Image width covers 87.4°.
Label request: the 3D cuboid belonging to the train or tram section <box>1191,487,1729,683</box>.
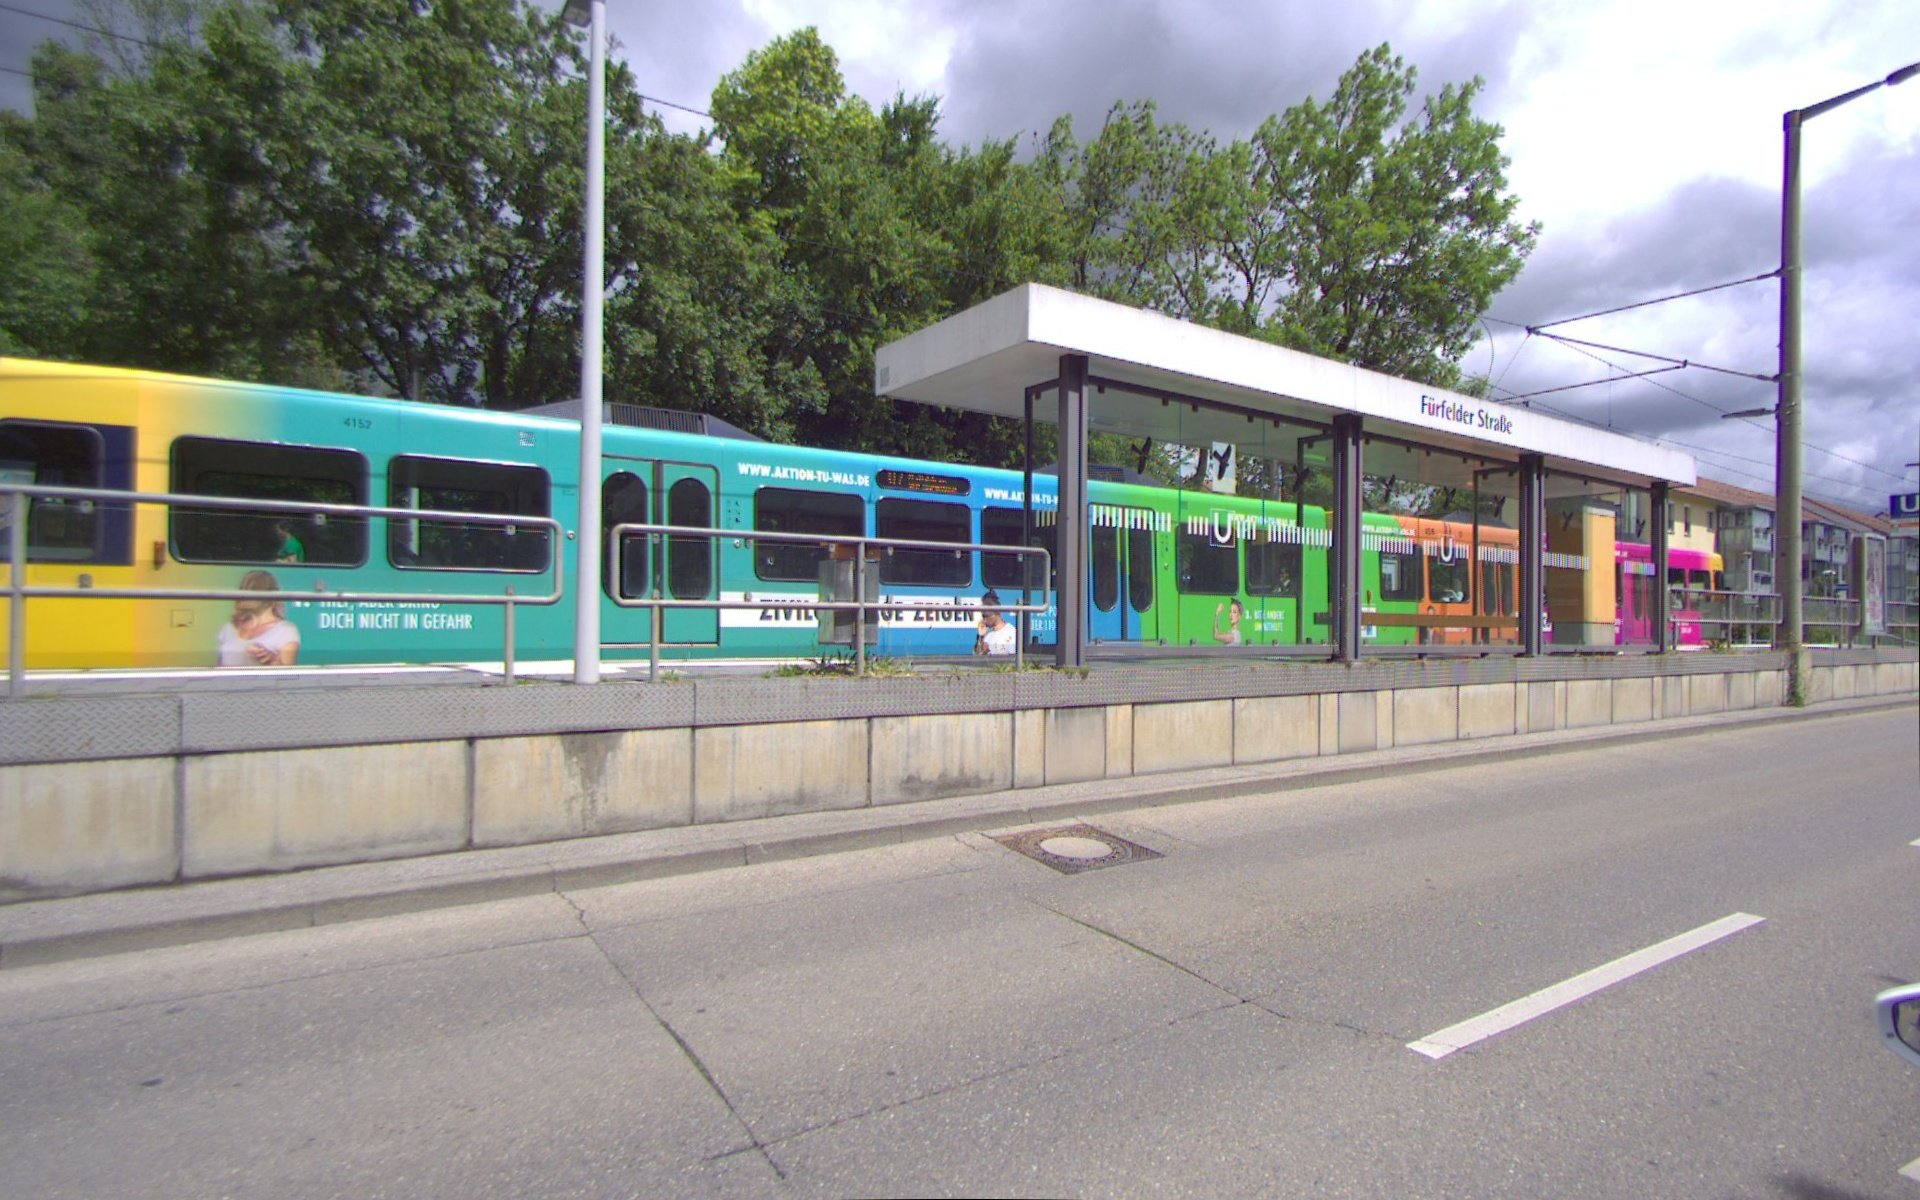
[{"bbox_3d":[13.399,-0.142,24.714,18.894,3.511,3.088,1,1,-35],"label":"train or tram section"}]

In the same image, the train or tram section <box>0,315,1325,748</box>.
[{"bbox_3d":[-2.144,-0.449,13.937,19.002,3.511,3.088,1,1,-35],"label":"train or tram section"}]
